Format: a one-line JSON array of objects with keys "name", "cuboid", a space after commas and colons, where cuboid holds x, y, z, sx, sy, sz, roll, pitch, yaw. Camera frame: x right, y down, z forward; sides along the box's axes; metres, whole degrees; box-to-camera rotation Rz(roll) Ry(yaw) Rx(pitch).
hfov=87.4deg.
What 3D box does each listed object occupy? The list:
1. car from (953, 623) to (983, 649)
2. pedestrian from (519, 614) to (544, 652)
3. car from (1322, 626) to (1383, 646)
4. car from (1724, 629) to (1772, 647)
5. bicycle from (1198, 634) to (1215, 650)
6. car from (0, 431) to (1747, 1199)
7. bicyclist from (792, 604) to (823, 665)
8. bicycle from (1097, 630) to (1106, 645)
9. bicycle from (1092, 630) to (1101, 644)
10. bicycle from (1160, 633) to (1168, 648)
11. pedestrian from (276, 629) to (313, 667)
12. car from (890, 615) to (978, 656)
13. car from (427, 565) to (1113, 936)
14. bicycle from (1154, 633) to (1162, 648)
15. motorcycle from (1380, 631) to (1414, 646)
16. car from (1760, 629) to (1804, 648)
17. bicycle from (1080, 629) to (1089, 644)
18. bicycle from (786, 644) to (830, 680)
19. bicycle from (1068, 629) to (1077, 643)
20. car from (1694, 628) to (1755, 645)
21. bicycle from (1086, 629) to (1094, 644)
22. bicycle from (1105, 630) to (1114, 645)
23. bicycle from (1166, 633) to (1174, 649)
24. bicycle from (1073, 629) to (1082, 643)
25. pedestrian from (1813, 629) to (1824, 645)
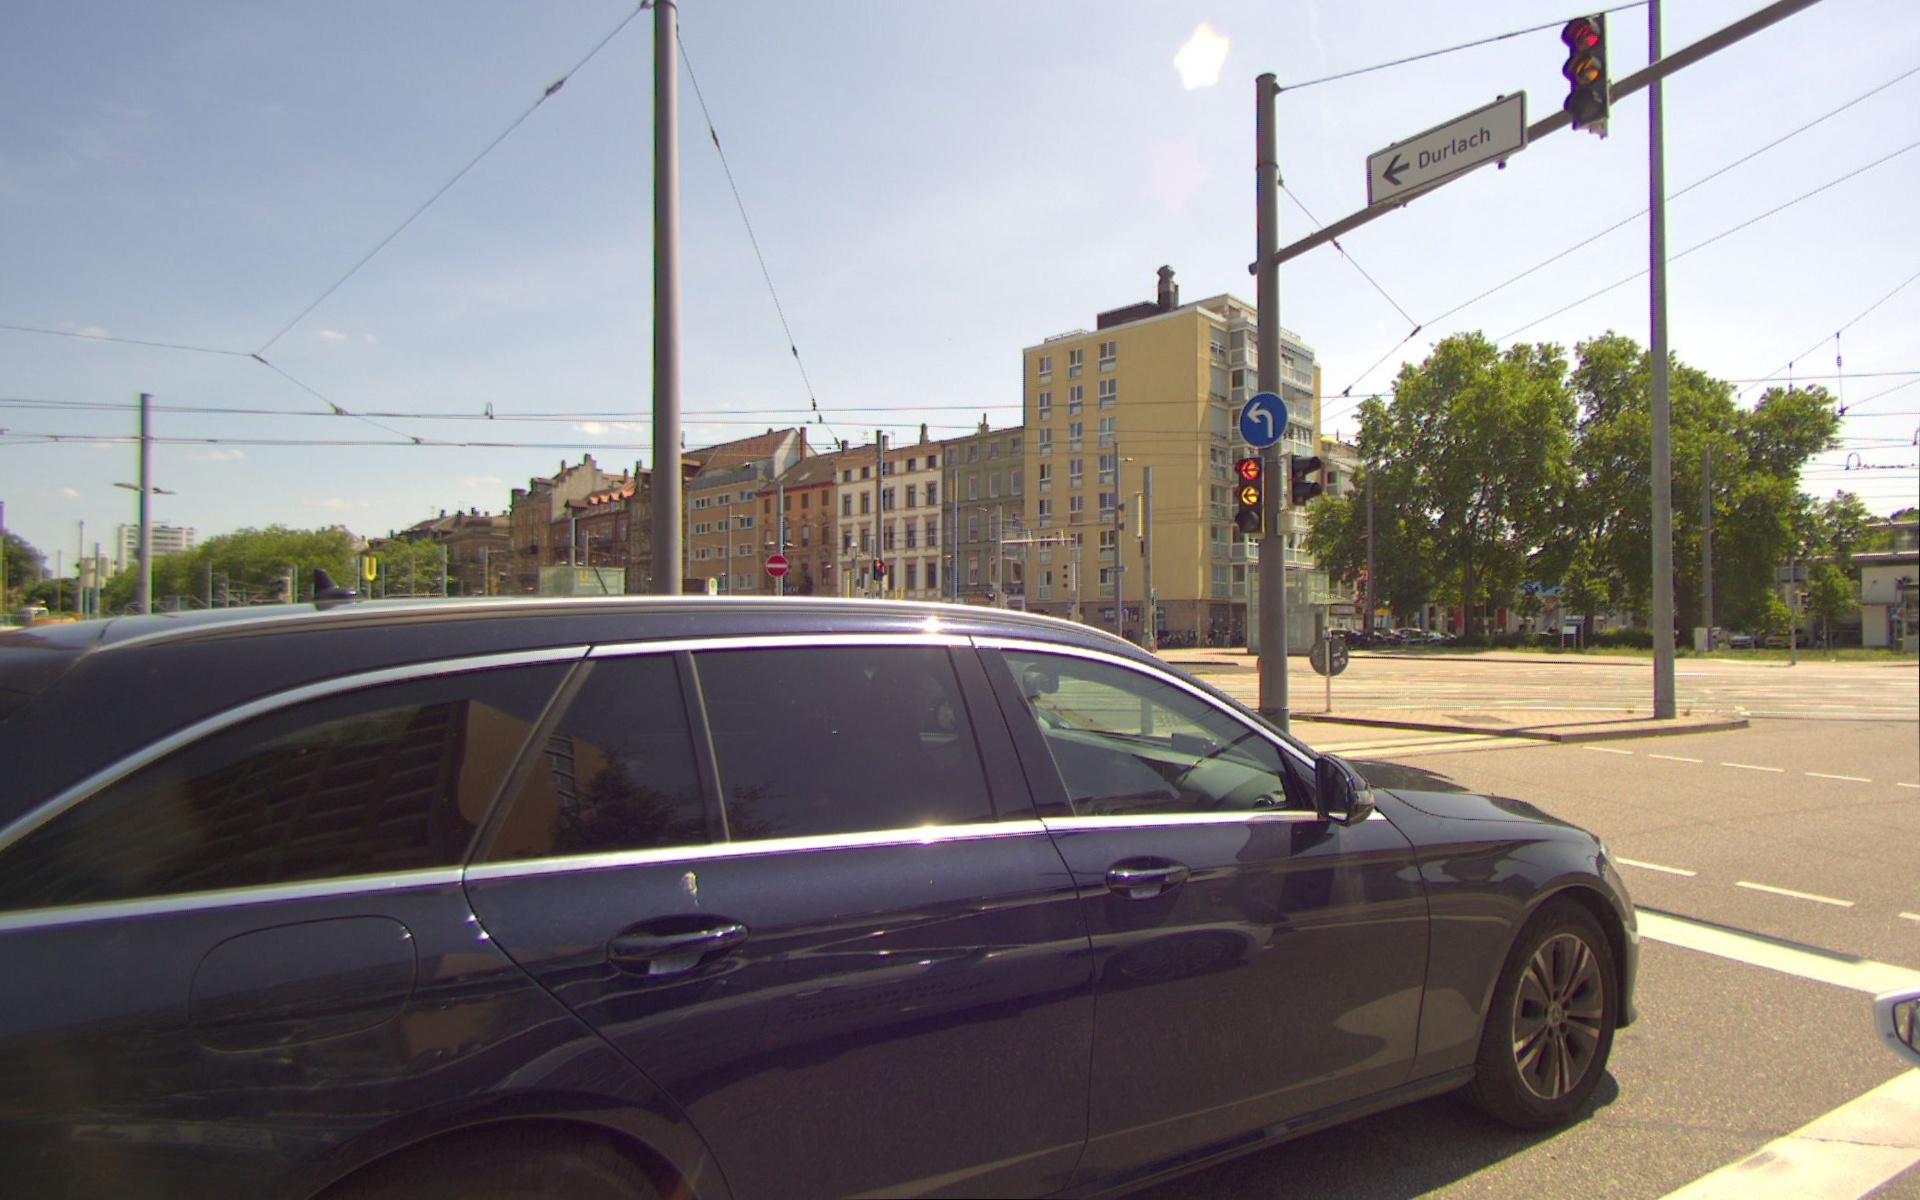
[{"name": "car", "cuboid": [0.563, 2.518, 70.450, 1.803, 1.773, 3.998, 0, -1, -4]}, {"name": "pedestrian", "cuboid": [-20.738, 1.601, 48.596, 1.114, 1.837, 0.677, -1, -2, 38]}, {"name": "car", "cuboid": [29.703, 2.697, 76.079, 3.935, 1.439, 1.993, -1, -2, 36]}, {"name": "car", "cuboid": [68.228, 3.244, 86.987, 4.274, 1.530, 1.759, 1, -2, -29]}, {"name": "bicycle", "cuboid": [16.770, 2.865, 68.285, 0.427, 1.040, 1.435, -1, -2, 44]}, {"name": "car", "cuboid": [0.015, 0.663, 2.818, 4.747, 1.662, 1.789, 1, 0, -30]}, {"name": "bicyclist", "cuboid": [-4.032, 0.890, 26.490, 0.433, 1.549, 1.245, 2, 0, -26]}, {"name": "bicycle", "cuboid": [10.241, 2.682, 72.566, 0.424, 1.040, 1.445, 0, -1, 16]}, {"name": "bicycle", "cuboid": [9.925, 2.674, 72.964, 0.424, 1.040, 1.445, 0, -1, 16]}, {"name": "bicycle", "cuboid": [13.986, 2.779, 68.820, 0.424, 1.040, 1.445, 0, -1, 16]}, {"name": "pedestrian", "cuboid": [-24.100, 1.731, 36.360, 0.978, 1.352, 0.527, 0, -1, 2]}, {"name": "car", "cuboid": [-1.448, 1.896, 54.007, 1.987, 2.084, 4.807, 1, -2, -44]}, {"name": "car", "cuboid": [-1.081, 0.695, 6.010, 3.692, 1.597, 1.736, 1, -2, -30]}, {"name": "bicycle", "cuboid": [13.612, 2.769, 69.131, 0.424, 1.040, 1.445, 0, -1, 16]}, {"name": "motorcycle", "cuboid": [27.551, 2.420, 63.349, 1.887, 0.974, 0.524, -1, -1, 31]}, {"name": "car", "cuboid": [69.108, 3.223, 84.409, 4.283, 1.530, 1.756, 1, -2, -35]}, {"name": "bicycle", "cuboid": [9.122, 2.652, 73.568, 0.424, 1.040, 1.445, 0, -1, 16]}, {"name": "bicycle", "cuboid": [-4.006, 1.617, 26.390, 0.620, 0.866, 1.887, 1, -2, -26]}, {"name": "bicycle", "cuboid": [8.353, 2.632, 74.345, 0.424, 1.040, 1.445, 0, -1, 16]}, {"name": "car", "cuboid": [70.912, 3.411, 93.260, 4.245, 1.530, 1.771, -1, -2, 26]}, {"name": "bicycle", "cuboid": [9.483, 2.662, 73.260, 0.424, 1.040, 1.445, 0, -1, 16]}, {"name": "bicycle", "cuboid": [10.758, 2.697, 72.307, 0.424, 1.040, 1.445, 0, -1, 16]}, {"name": "bicycle", "cuboid": [14.356, 2.790, 68.555, 0.424, 1.040, 1.445, 0, -1, 16]}, {"name": "bicycle", "cuboid": [8.695, 2.641, 74.006, 0.424, 1.040, 1.445, 0, -1, 16]}, {"name": "pedestrian", "cuboid": [67.973, 2.944, 79.492, 0.439, 1.220, 0.511, 1, -1, -24]}]
